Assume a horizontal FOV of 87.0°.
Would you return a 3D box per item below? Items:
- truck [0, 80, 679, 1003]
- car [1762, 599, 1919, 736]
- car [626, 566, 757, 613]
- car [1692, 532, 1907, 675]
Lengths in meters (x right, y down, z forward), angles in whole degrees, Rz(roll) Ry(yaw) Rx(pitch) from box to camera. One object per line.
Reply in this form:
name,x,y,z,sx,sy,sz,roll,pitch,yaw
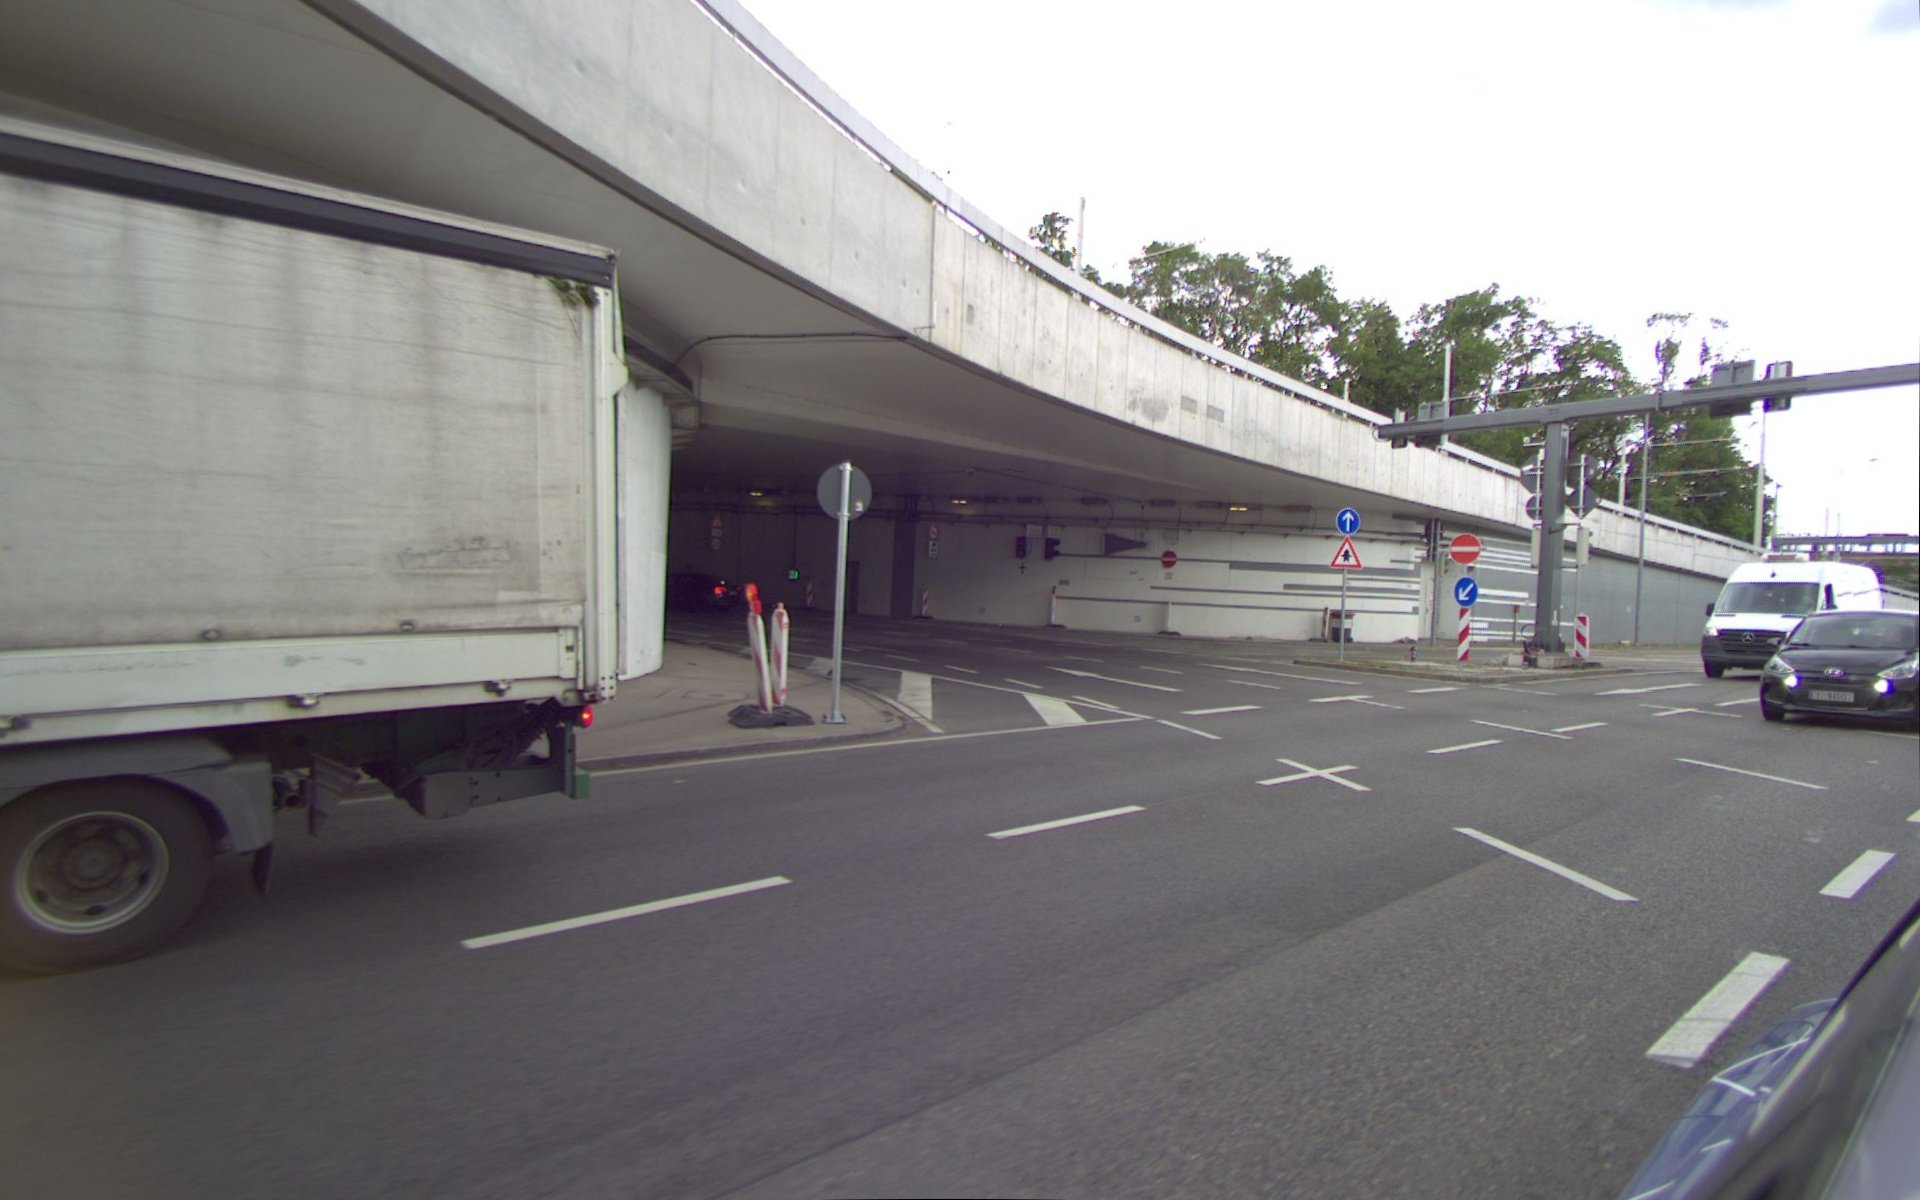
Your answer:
truck,-5.100,-0.249,3.816,7.292,3.225,2.656,1,0,-40
car,12.137,0.784,13.386,3.627,1.564,1.685,0,1,-40
car,-10.008,-0.437,37.729,4.415,1.418,1.986,4,3,22
car,19.134,0.180,22.906,7.188,2.808,2.081,3,-1,-37
